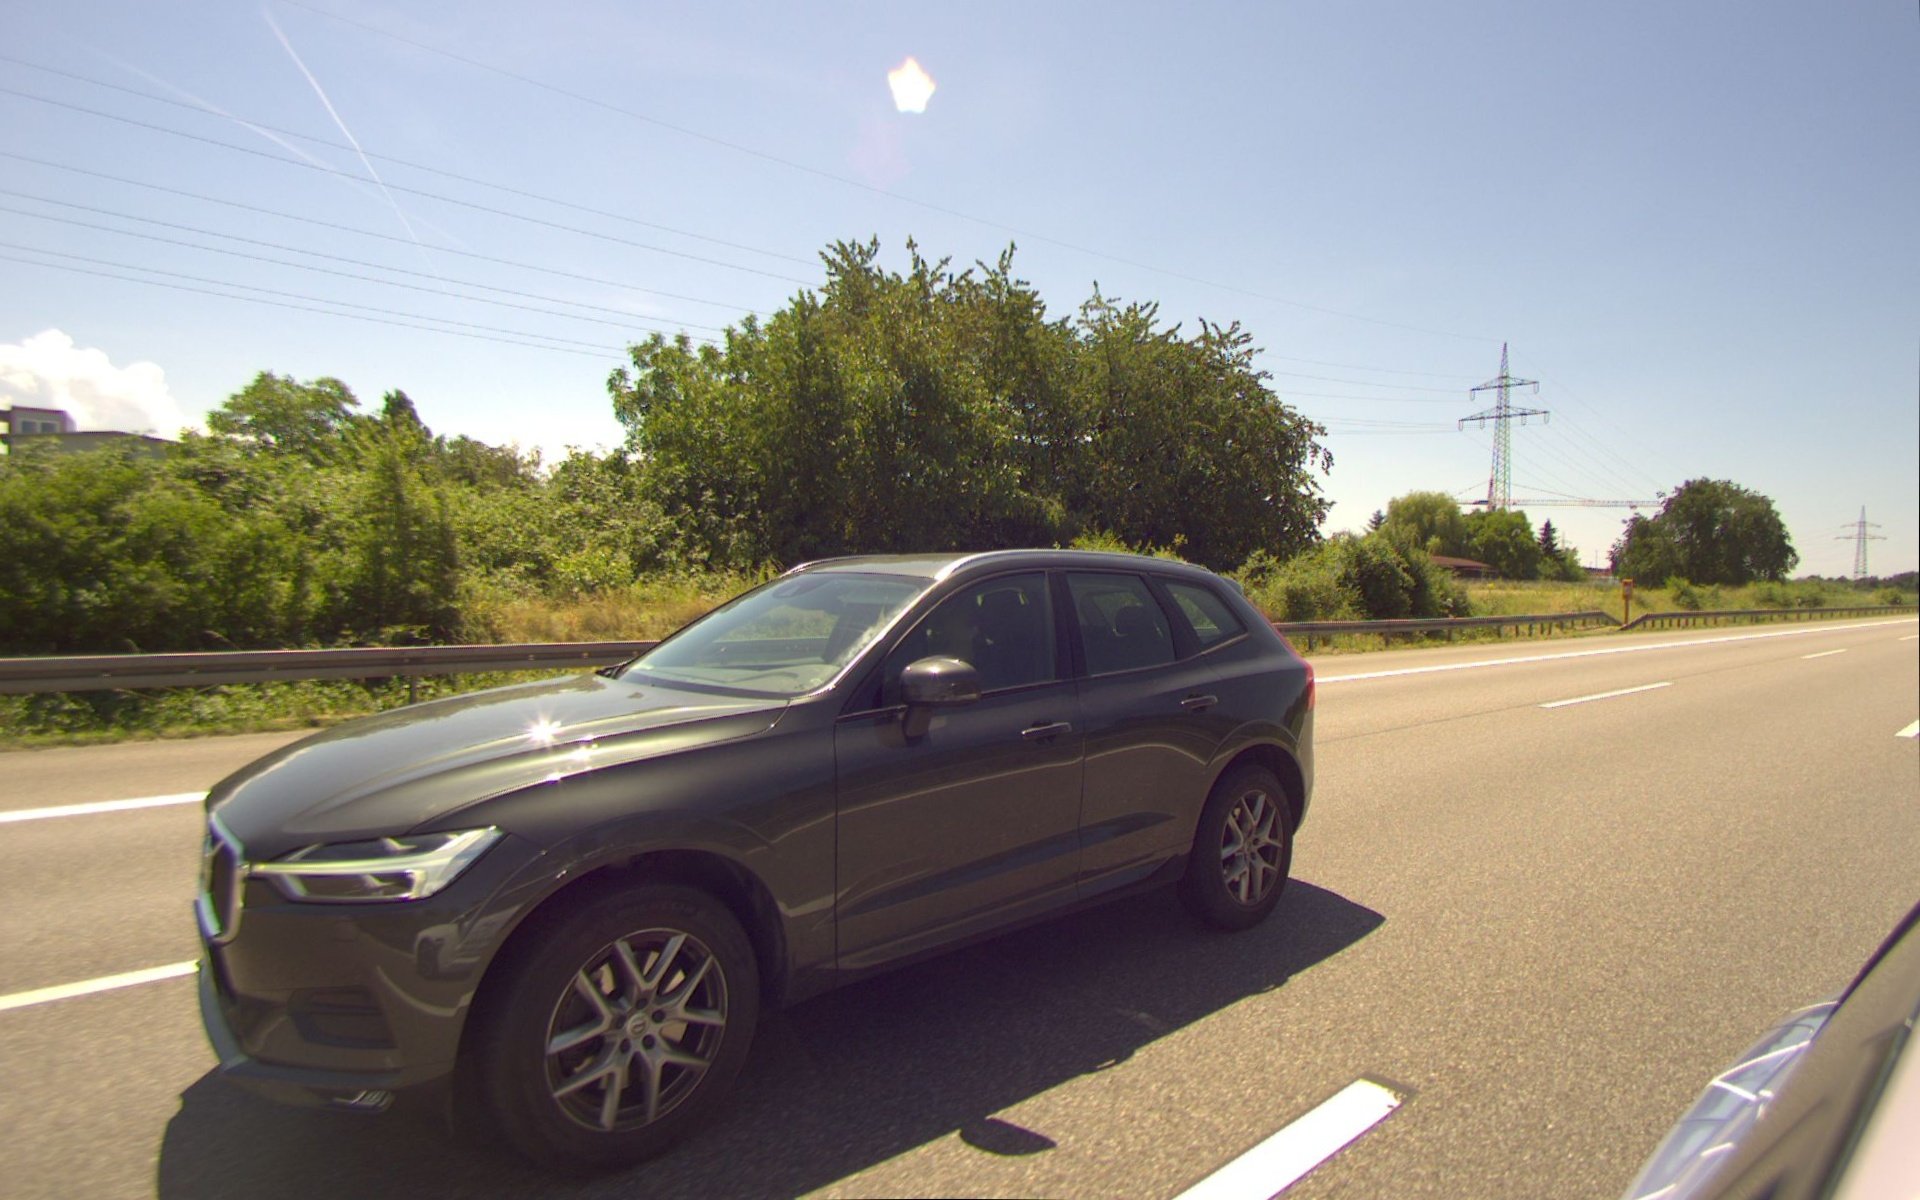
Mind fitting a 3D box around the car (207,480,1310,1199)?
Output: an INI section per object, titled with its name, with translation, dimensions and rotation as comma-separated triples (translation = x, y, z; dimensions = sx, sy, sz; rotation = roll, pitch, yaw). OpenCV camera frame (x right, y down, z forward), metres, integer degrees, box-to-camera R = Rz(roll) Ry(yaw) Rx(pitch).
[car]
translation = -0.487, 0.554, 4.049
dimensions = 3.934, 1.643, 1.877
rotation = 0, 1, -41
